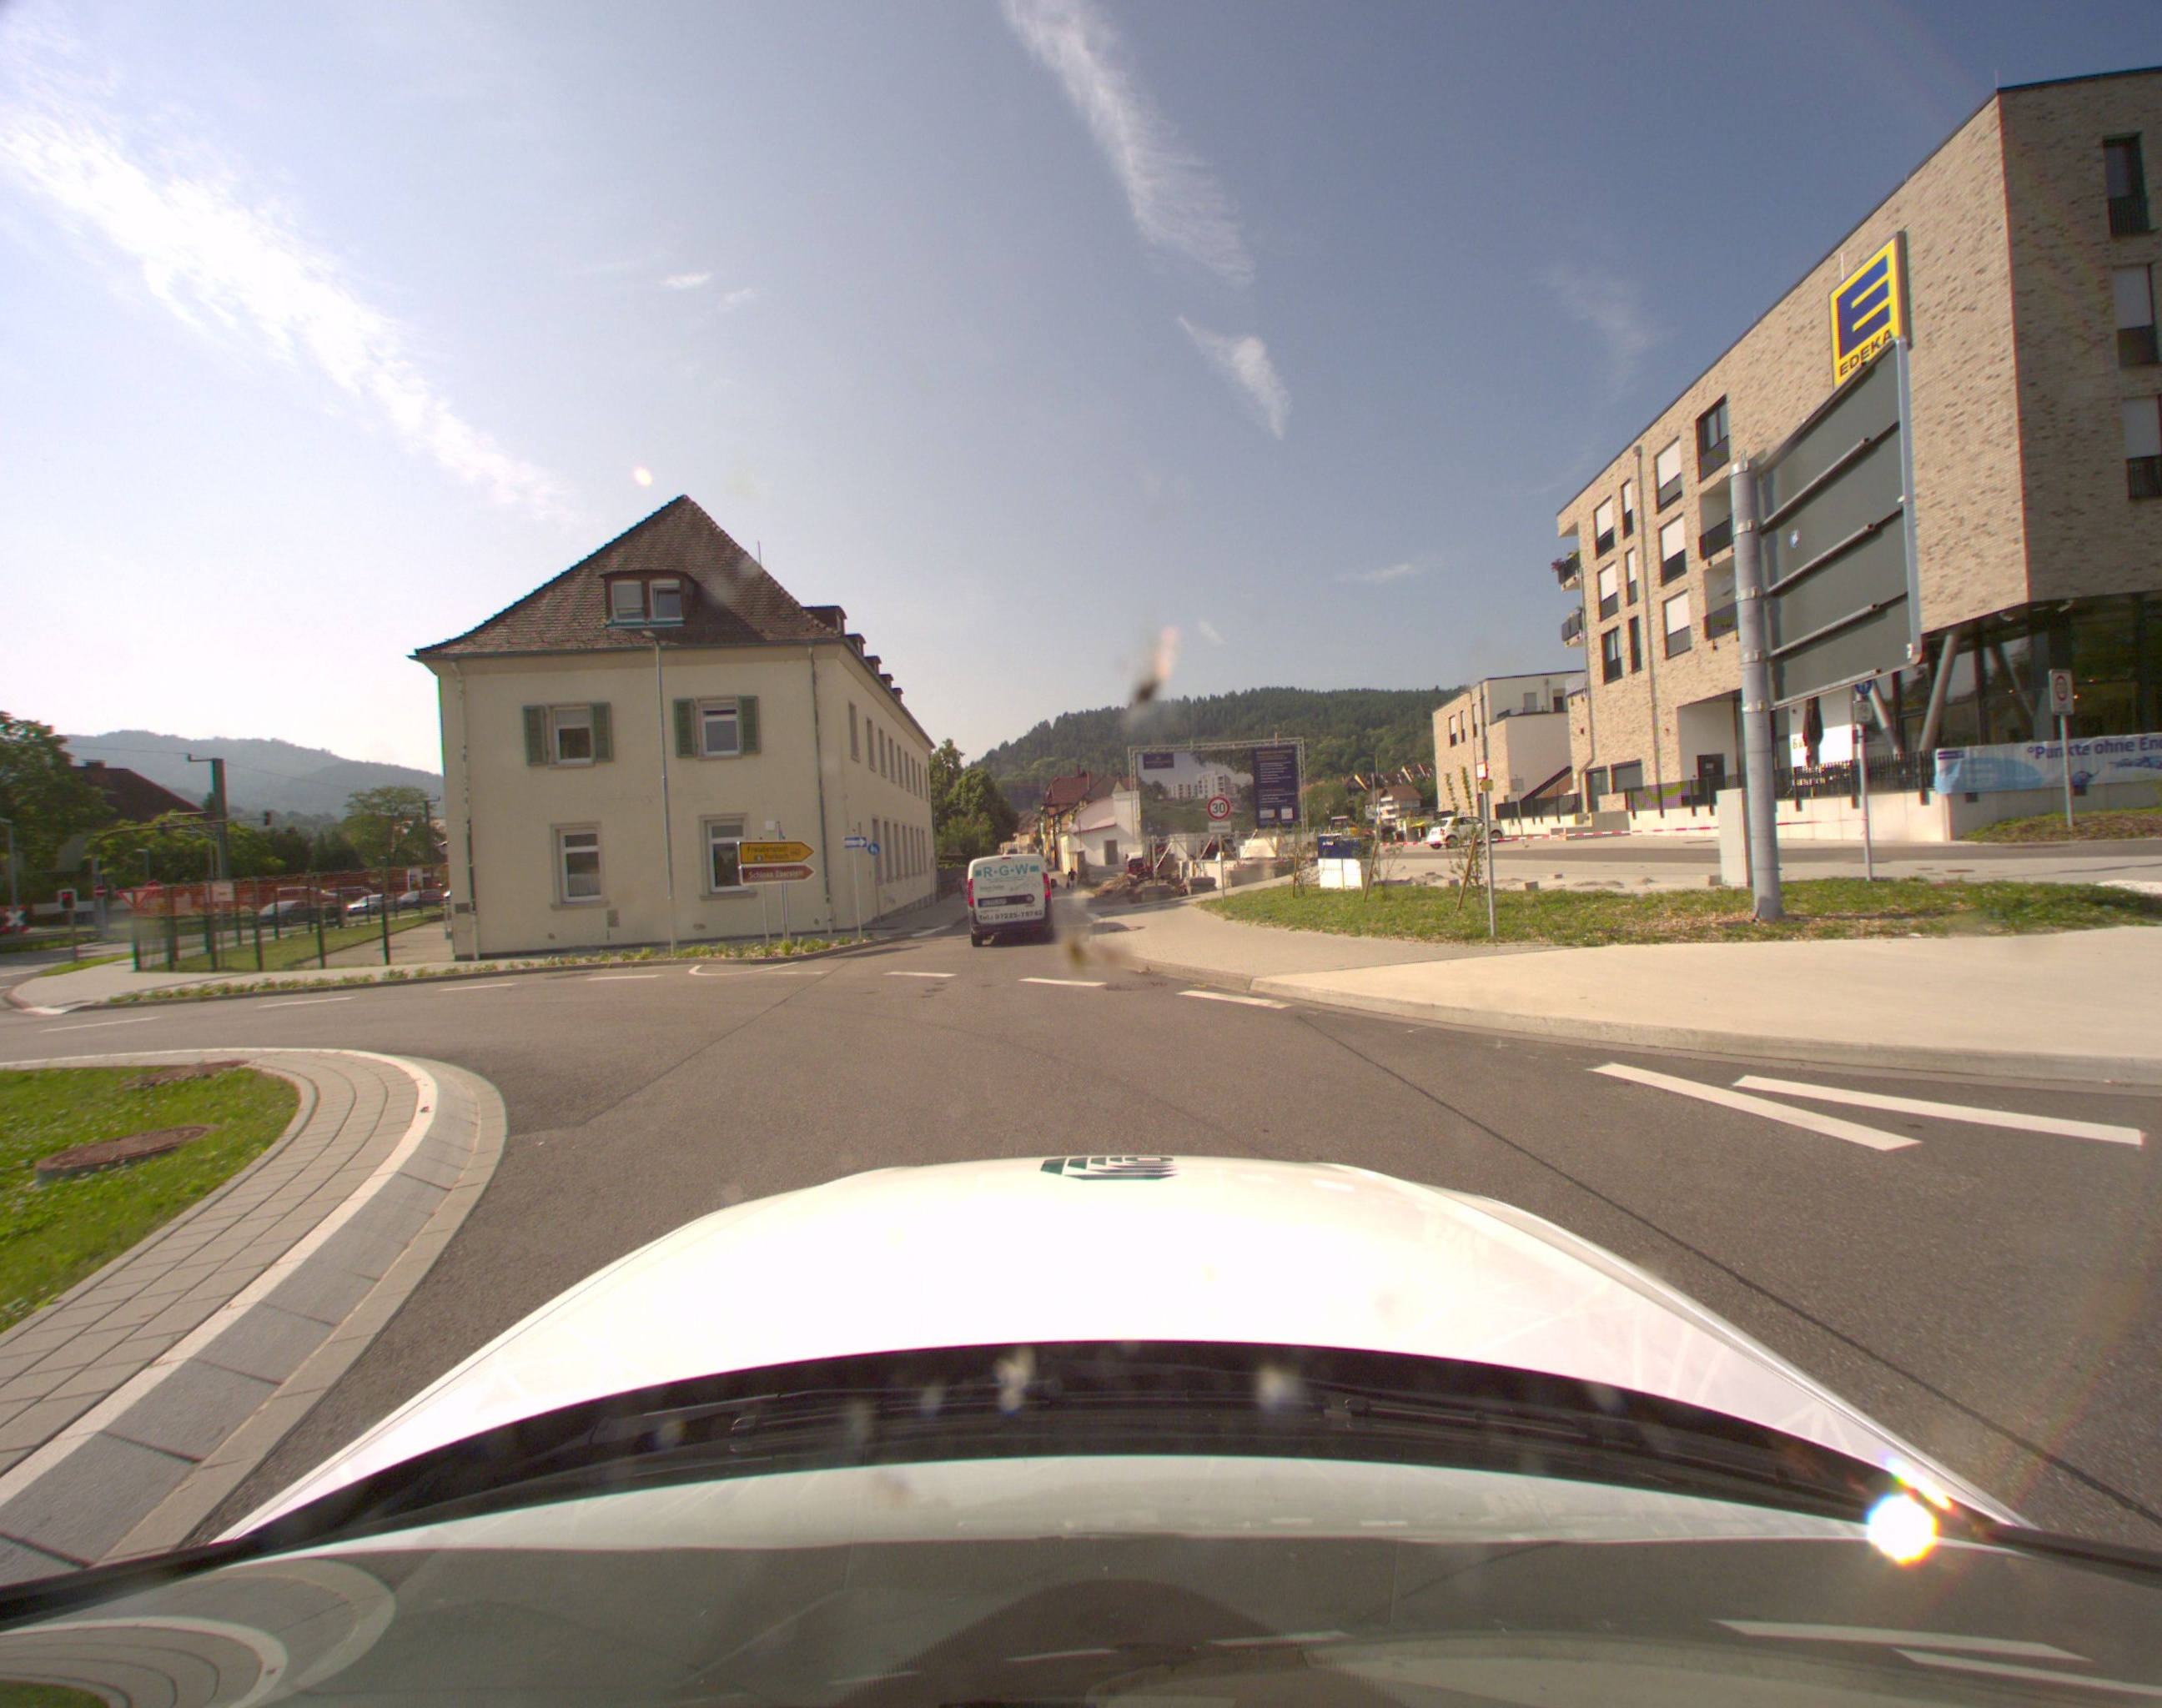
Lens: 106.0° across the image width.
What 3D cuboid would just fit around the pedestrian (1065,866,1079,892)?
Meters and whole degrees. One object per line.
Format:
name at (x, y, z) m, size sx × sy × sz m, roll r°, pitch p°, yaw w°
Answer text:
pedestrian at (-0.604, 1.698, 54.985) m, size 0.887 × 1.683 × 0.717 m, roll -2°, pitch -1°, yaw -5°

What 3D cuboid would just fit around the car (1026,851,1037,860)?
car at (-9.032, 0.252, 149.322) m, size 1.668 × 1.508 × 3.991 m, roll -4°, pitch 1°, yaw -7°

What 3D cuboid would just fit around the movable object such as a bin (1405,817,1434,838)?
movable object such as a bin at (25.109, -1.974, 60.422) m, size 1.685 × 1.464 × 1.322 m, roll -1°, pitch 1°, yaw 5°

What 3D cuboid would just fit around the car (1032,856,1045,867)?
car at (-6.377, 1.100, 122.994) m, size 1.807 × 1.596 × 3.921 m, roll -1°, pitch 1°, yaw -4°

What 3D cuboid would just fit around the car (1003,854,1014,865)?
car at (-20.418, 1.633, 228.883) m, size 2.872 × 2.835 × 6.110 m, roll -4°, pitch 1°, yaw -7°

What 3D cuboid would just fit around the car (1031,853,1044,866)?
car at (-7.150, 0.899, 133.031) m, size 1.868 × 2.013 × 3.993 m, roll -3°, pitch 0°, yaw -5°

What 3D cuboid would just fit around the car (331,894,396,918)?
car at (-51.016, 3.680, 58.011) m, size 1.711 × 1.397 × 3.983 m, roll -2°, pitch 1°, yaw -13°

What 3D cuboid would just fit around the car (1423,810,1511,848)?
car at (18.702, -1.198, 39.533) m, size 3.400 × 1.495 × 1.591 m, roll -5°, pitch -1°, yaw -6°

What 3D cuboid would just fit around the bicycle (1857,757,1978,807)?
bicycle at (20.995, -1.805, 20.465) m, size 2.232 × 1.144 × 0.856 m, roll -1°, pitch 1°, yaw -3°

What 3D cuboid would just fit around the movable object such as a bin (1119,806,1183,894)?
movable object such as a bin at (3.302, -0.171, 40.119) m, size 2.288 × 3.854 × 7.795 m, roll -1°, pitch 0°, yaw -1°

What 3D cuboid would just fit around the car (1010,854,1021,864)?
car at (-11.406, 0.920, 140.978) m, size 1.808 × 1.596 × 3.919 m, roll -2°, pitch 1°, yaw -6°

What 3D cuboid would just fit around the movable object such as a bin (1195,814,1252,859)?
movable object such as a bin at (12.140, -1.508, 69.076) m, size 2.822 × 3.621 × 5.772 m, roll -1°, pitch 1°, yaw 30°

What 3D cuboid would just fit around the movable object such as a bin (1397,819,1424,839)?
movable object such as a bin at (25.005, -1.905, 61.796) m, size 1.572 × 1.464 × 1.322 m, roll -1°, pitch 1°, yaw 5°

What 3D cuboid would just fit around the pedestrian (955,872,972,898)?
pedestrian at (-7.599, 2.014, 52.638) m, size 0.956 × 1.631 × 0.756 m, roll -3°, pitch -1°, yaw -5°

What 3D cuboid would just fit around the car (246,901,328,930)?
car at (-48.951, 3.761, 50.314) m, size 1.711 × 1.397 × 3.983 m, roll -2°, pitch 1°, yaw -13°

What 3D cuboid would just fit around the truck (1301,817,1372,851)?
truck at (21.206, -1.667, 67.551) m, size 5.269 × 2.265 × 2.231 m, roll -5°, pitch -1°, yaw 21°

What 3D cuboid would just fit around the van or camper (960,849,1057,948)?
van or camper at (-1.557, 0.953, 18.500) m, size 1.824 × 1.844 × 4.183 m, roll -4°, pitch -2°, yaw -3°

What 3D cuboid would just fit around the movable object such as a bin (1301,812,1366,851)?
movable object such as a bin at (19.976, -1.755, 64.399) m, size 4.573 × 2.569 × 1.935 m, roll -5°, pitch -1°, yaw 20°

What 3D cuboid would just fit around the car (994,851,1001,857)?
car at (-22.672, 0.019, 220.766) m, size 1.810 × 1.596 × 3.915 m, roll -2°, pitch 1°, yaw -9°

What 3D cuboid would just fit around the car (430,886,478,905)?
car at (-53.964, 3.544, 70.171) m, size 1.711 × 1.397 × 3.983 m, roll -2°, pitch 1°, yaw -13°

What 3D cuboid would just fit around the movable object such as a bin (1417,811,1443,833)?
movable object such as a bin at (24.790, -2.277, 57.874) m, size 1.293 × 1.464 × 1.322 m, roll -1°, pitch 1°, yaw 5°

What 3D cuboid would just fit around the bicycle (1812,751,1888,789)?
bicycle at (25.497, -2.772, 27.067) m, size 0.687 × 1.045 × 2.251 m, roll -1°, pitch 1°, yaw 10°

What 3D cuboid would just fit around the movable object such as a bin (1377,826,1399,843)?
movable object such as a bin at (24.009, -1.514, 63.681) m, size 1.289 × 1.268 × 1.322 m, roll -1°, pitch 1°, yaw 5°
